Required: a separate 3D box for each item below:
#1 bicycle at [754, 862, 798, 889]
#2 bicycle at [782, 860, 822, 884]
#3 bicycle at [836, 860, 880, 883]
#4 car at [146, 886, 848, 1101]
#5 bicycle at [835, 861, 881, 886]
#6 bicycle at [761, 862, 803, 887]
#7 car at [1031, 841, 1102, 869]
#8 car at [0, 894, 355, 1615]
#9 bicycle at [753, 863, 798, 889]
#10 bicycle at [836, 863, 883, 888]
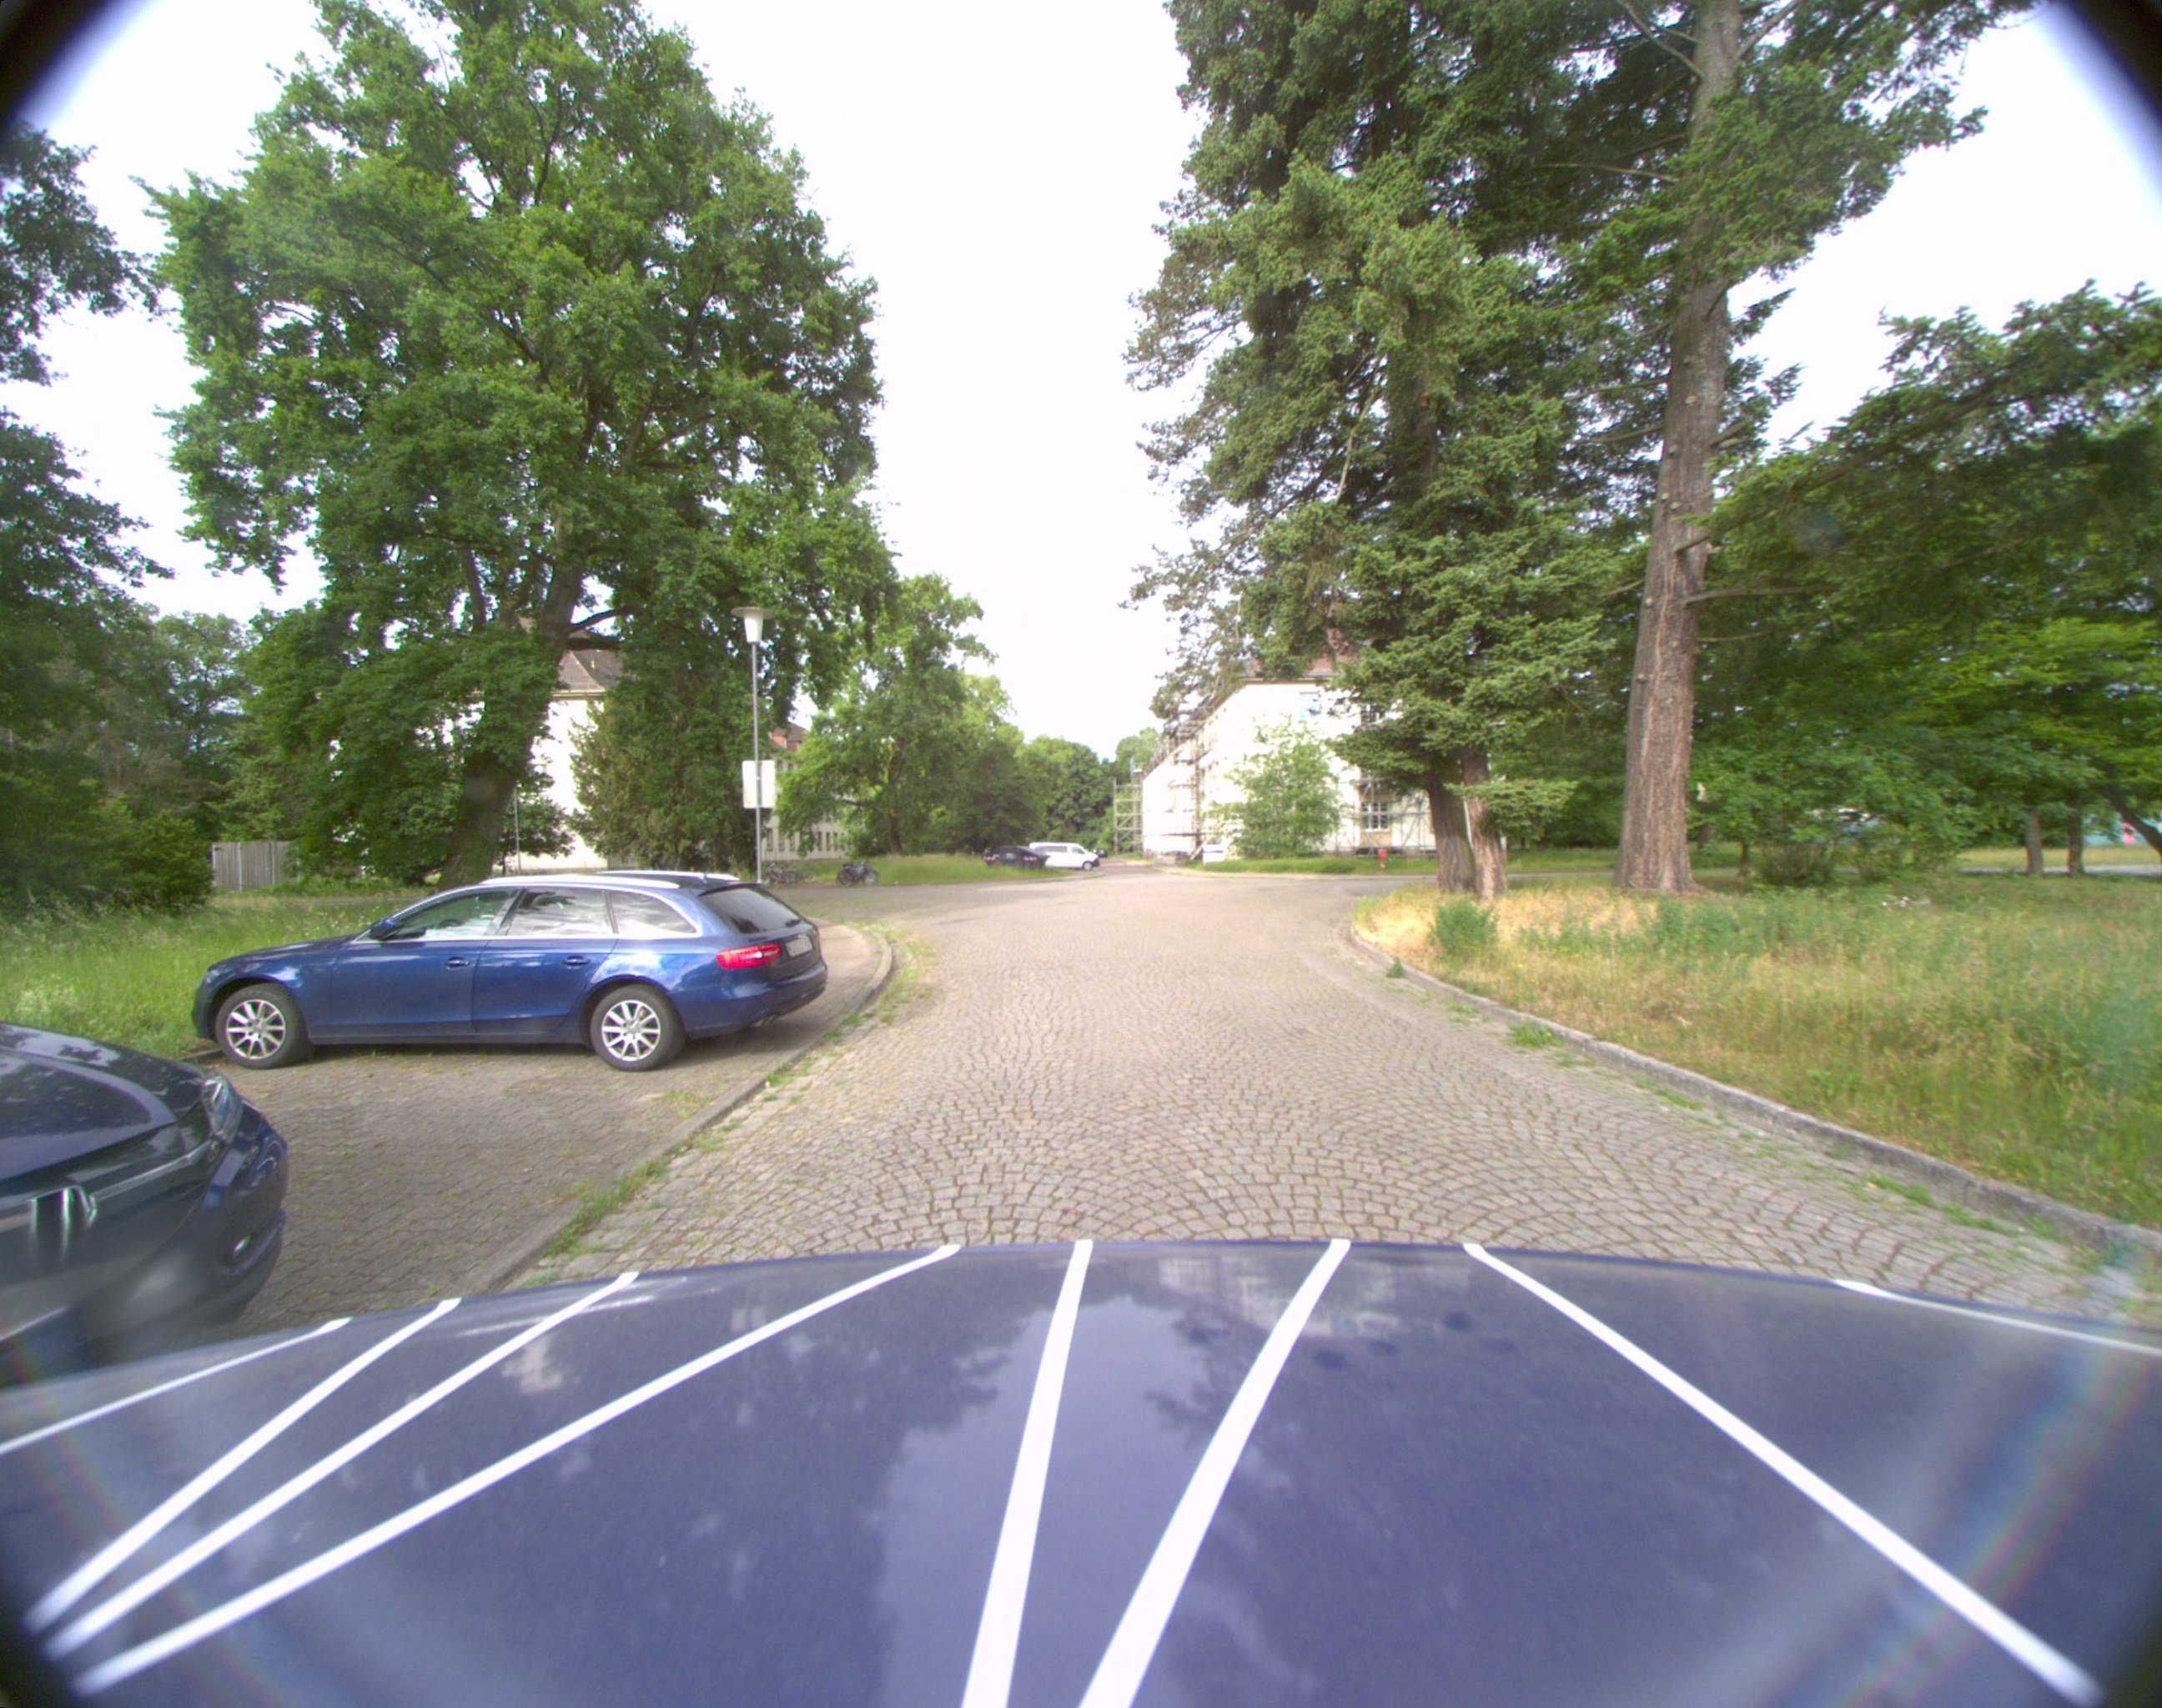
[{"bbox_3d":[-14.253,0.993,35.524,1.860,1.116,0.620,-2,1,-24],"label":"bicycle"},{"bbox_3d":[-14.475,0.926,39.398,1.860,1.116,0.620,-2,1,-24],"label":"bicycle"},{"bbox_3d":[-11.286,0.870,38.427,2.032,1.070,0.620,-2,1,-24],"label":"bicycle"},{"bbox_3d":[-4.468,1.024,6.307,4.480,1.413,1.785,0,1,2],"label":"car"},{"bbox_3d":[-10.671,0.932,36.334,1.976,1.070,0.587,-2,1,-28],"label":"bicycle"},{"bbox_3d":[-14.641,0.979,37.176,1.860,1.116,0.620,-2,1,-24],"label":"bicycle"},{"bbox_3d":[-1.065,0.077,55.209,5.101,2.007,2.054,0,1,-2],"label":"car"},{"bbox_3d":[-4.541,0.979,1.606,4.173,1.563,1.792,-1,2,-1],"label":"car"},{"bbox_3d":[-14.041,0.995,34.918,1.860,1.116,0.620,-2,1,-24],"label":"bicycle"},{"bbox_3d":[-10.127,0.973,34.764,1.976,1.070,0.587,-2,1,-28],"label":"bicycle"}]
